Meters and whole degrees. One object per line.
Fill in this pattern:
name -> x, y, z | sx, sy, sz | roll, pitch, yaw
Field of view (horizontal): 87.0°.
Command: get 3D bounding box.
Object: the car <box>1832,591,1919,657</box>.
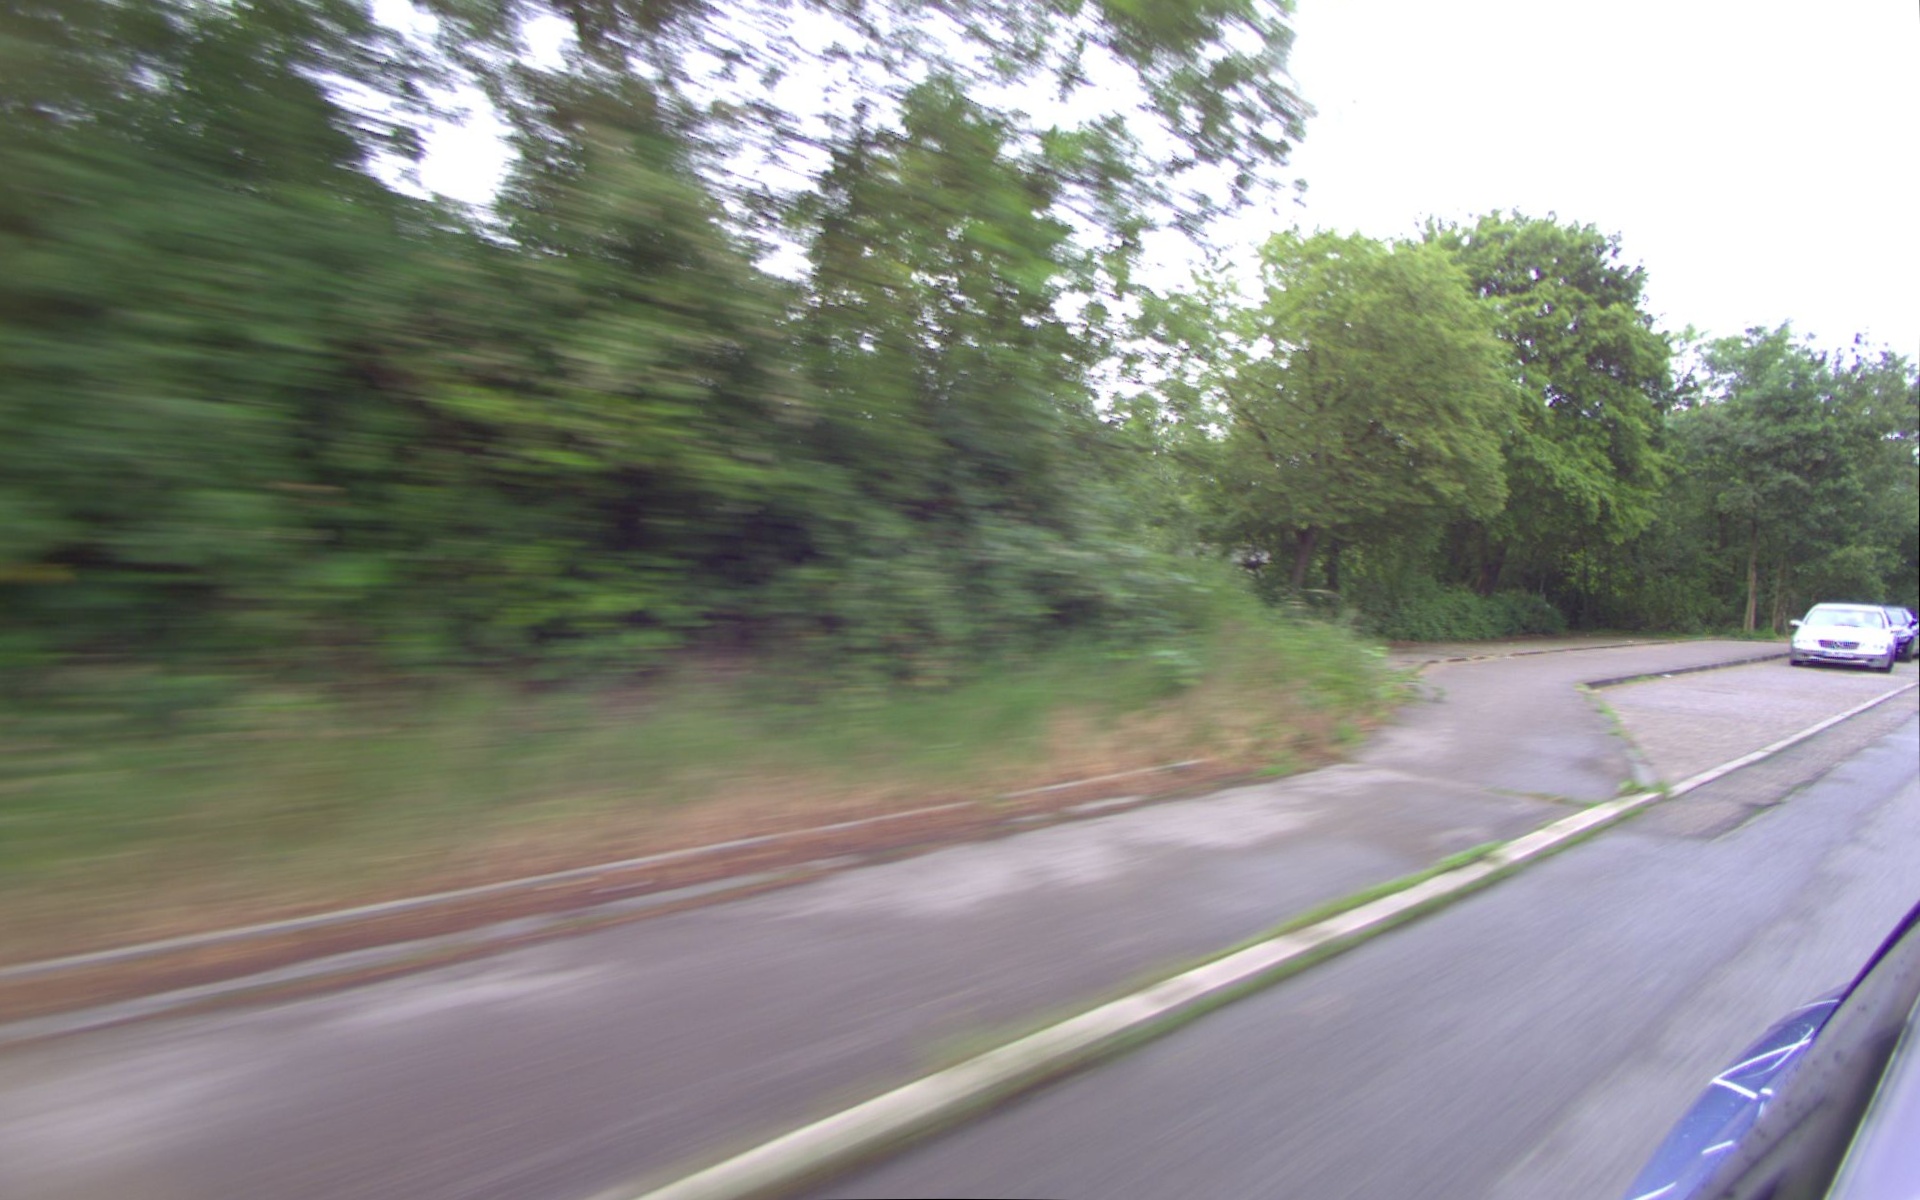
car -> 25.050, 0.576, 27.180 | 4.587, 1.528, 1.810 | -1, 4, -42

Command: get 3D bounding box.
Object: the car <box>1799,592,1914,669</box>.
car -> 20.606, 0.620, 23.207 | 1.745, 1.486, 4.154 | 4, 3, 44
